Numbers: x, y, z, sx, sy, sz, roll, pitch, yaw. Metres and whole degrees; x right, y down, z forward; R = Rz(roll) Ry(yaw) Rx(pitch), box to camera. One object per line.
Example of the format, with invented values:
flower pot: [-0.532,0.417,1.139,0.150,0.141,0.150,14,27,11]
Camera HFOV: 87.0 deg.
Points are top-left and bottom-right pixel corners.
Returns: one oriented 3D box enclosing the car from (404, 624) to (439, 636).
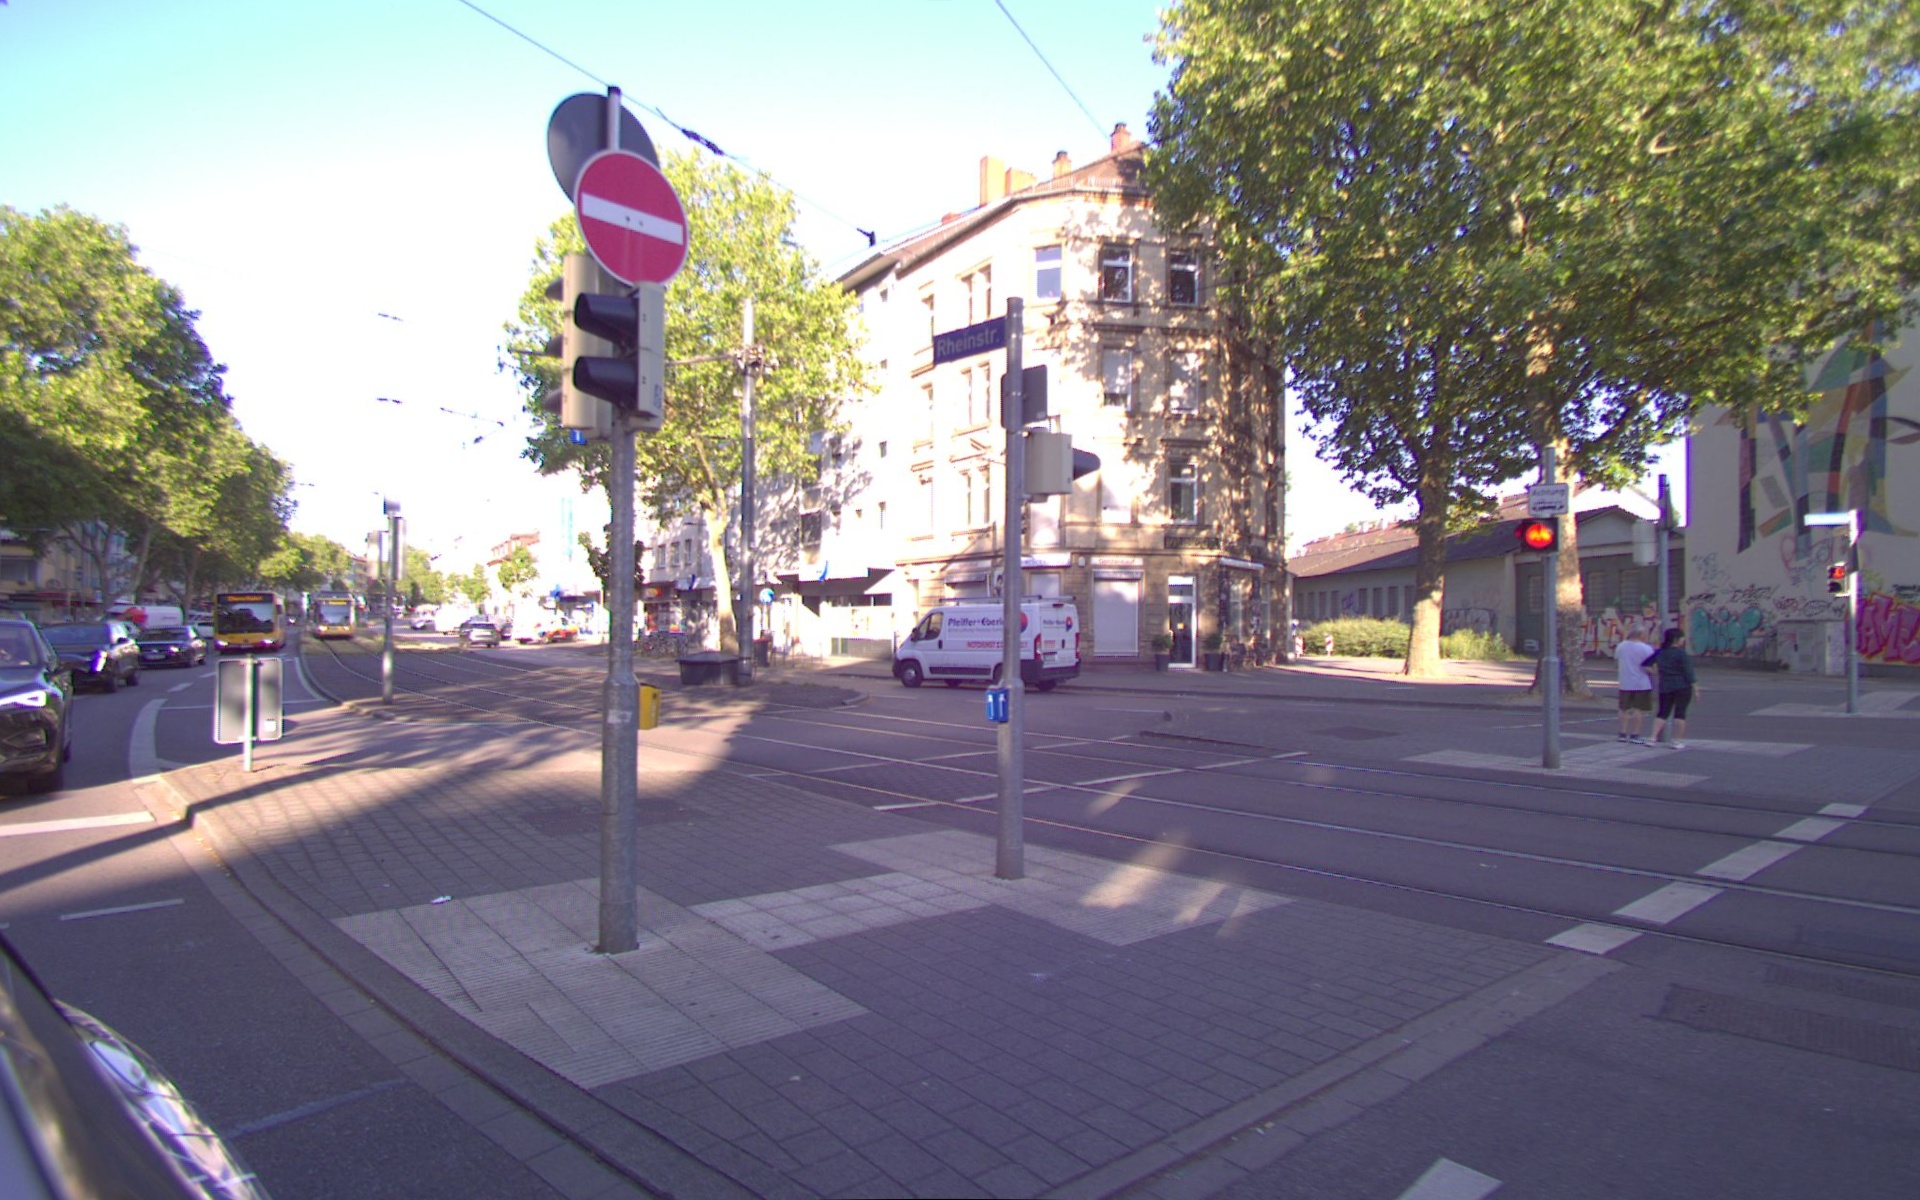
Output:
car: [-72.444,4.028,136.182,1.765,1.501,3.871,-2,0,34]

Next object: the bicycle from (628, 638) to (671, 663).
bicycle: [-14.495,2.347,47.283,1.869,1.133,0.535,0,-1,-36]

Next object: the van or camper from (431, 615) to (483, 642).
van or camper: [-53.176,2.996,107.167,1.974,2.687,6.389,-2,0,4]

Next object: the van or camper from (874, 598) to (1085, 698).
van or camper: [0.446,1.238,26.025,5.092,2.337,2.148,-2,-4,35]

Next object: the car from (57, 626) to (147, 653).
car: [-53.371,2.429,63.035,1.645,1.575,3.978,1,-2,16]

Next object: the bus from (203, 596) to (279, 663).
bus: [-37.062,1.393,52.423,2.826,3.001,12.272,-2,1,-34]

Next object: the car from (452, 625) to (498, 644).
car: [-45.659,3.266,95.358,1.861,1.598,3.983,-2,0,13]

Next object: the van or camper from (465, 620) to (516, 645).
van or camper: [-41.593,2.881,89.756,1.782,2.004,4.434,-2,0,12]

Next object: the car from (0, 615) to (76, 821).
car: [-9.461,0.976,9.315,1.780,1.660,4.008,1,-2,-39]

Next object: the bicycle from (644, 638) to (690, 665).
bicycle: [-13.067,2.303,45.201,1.869,1.133,0.654,0,-1,-36]

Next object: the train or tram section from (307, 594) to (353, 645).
train or tram section: [-46.291,1.477,74.586,2.595,3.476,11.162,-1,-1,-31]

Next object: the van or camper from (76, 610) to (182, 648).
van or camper: [-57.000,1.963,69.538,1.982,2.488,5.433,-1,-2,16]

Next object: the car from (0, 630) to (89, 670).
car: [-39.718,2.080,42.939,1.789,1.618,3.989,0,-2,9]

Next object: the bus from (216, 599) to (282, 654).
bus: [-43.830,1.506,62.656,2.826,3.001,12.274,-2,1,-33]

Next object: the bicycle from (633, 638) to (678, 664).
bicycle: [-14.043,2.336,46.618,1.869,1.133,0.654,0,-1,-36]

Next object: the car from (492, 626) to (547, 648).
car: [-34.075,2.869,78.353,1.750,1.501,4.438,-2,0,10]

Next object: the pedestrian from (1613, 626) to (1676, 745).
pedestrian: [8.923,1.094,13.215,0.591,1.515,0.517,-1,-2,28]

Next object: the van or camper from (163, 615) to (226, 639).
van or camper: [-82.400,2.900,109.038,1.981,2.488,5.437,0,-1,14]

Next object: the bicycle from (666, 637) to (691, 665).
bicycle: [-11.954,2.170,42.991,0.501,1.133,1.916,0,-1,-32]

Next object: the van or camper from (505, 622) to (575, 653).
van or camper: [-28.367,2.502,68.530,1.933,1.912,4.793,-2,0,14]

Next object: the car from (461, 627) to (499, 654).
car: [-27.754,2.335,58.594,1.859,1.484,4.221,0,-1,-24]

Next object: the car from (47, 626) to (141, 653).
car: [-51.618,2.356,60.402,1.645,1.534,3.978,1,-2,16]

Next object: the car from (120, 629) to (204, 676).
car: [-27.333,1.739,34.789,1.631,1.497,4.173,1,-2,-29]

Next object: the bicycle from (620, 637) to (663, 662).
bicycle: [-15.210,2.368,48.318,1.869,1.133,0.535,0,-1,-36]

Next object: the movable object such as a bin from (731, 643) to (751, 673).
movable object such as a bin: [-8.178,2.168,37.754,0.539,1.102,0.646,0,-2,7]

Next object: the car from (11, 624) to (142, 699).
car: [-20.645,1.374,23.809,1.631,1.593,4.012,1,-2,-31]

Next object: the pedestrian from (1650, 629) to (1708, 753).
pedestrian: [9.010,1.119,12.695,0.515,1.515,0.405,-1,-2,28]
